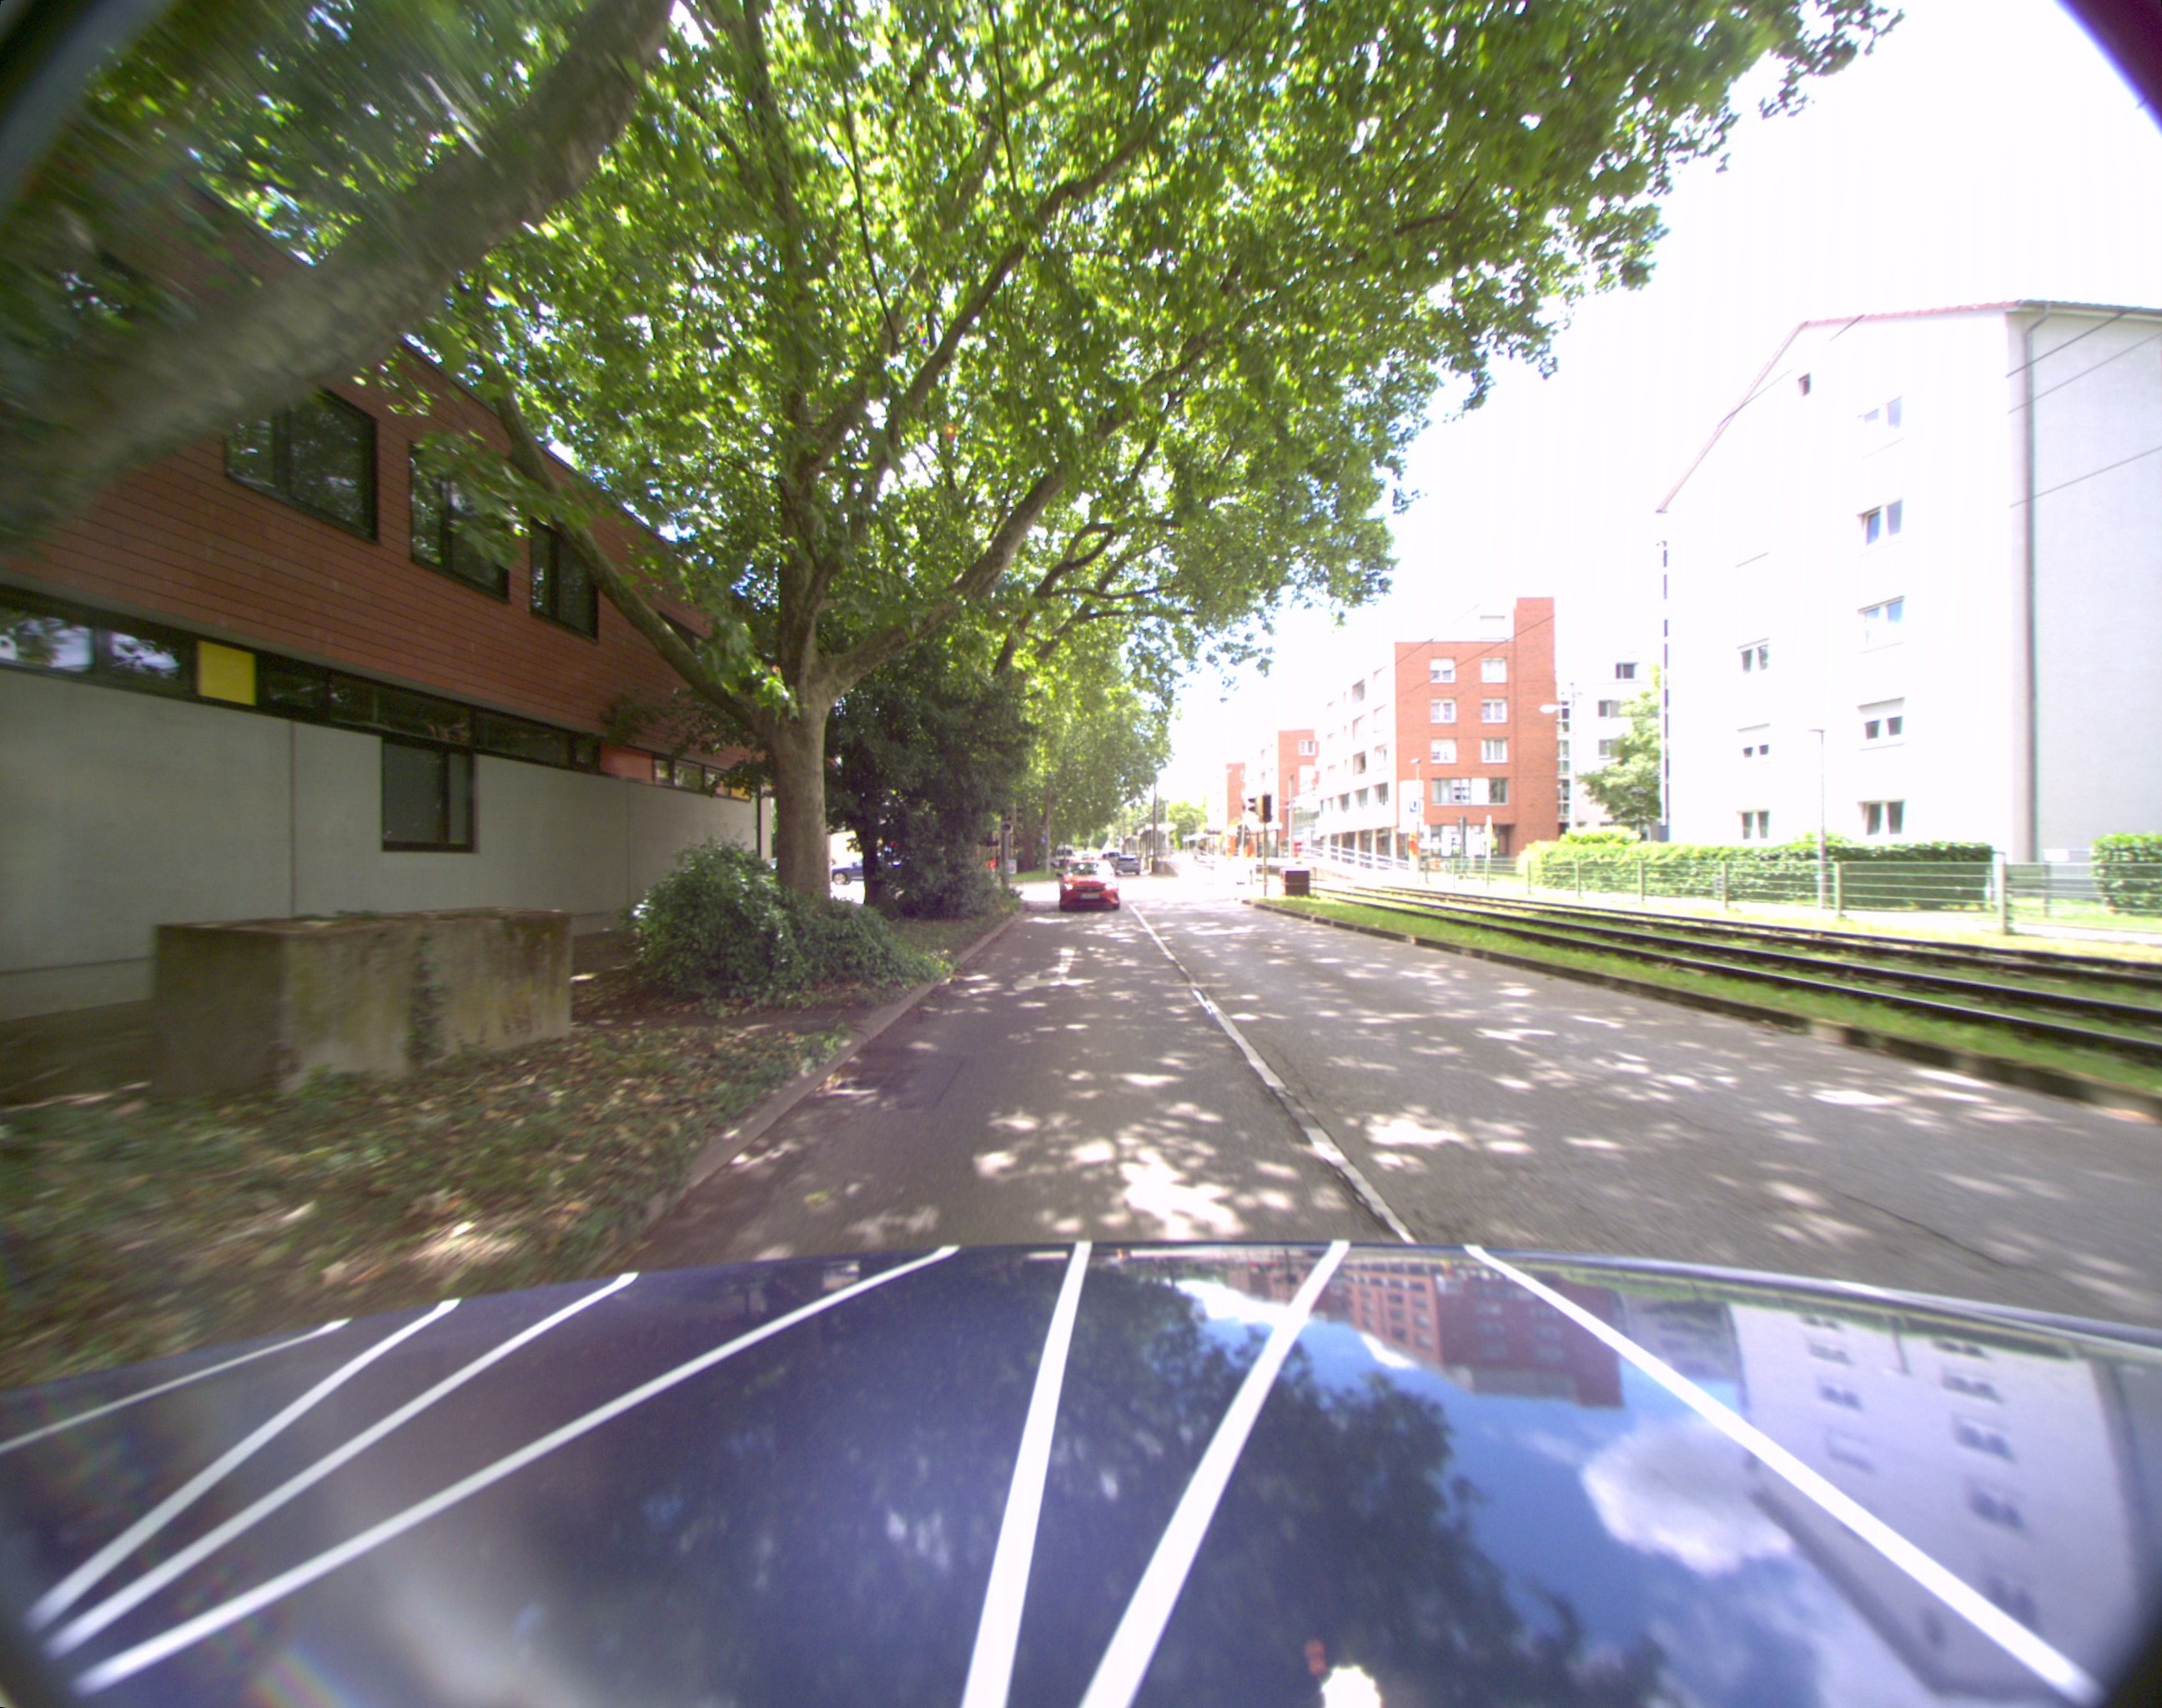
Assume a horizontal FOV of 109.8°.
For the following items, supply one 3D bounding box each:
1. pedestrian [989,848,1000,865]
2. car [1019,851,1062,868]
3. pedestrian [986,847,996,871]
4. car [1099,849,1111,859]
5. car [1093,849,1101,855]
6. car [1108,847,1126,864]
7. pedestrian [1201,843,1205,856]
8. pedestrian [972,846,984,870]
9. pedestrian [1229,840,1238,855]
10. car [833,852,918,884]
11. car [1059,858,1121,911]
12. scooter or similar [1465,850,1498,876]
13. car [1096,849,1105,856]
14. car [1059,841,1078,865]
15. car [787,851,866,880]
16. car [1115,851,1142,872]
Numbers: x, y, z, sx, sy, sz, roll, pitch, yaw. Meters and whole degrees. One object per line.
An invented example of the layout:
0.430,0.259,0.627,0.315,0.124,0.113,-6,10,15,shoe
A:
-8.954,0.251,78.514,0.923,1.791,0.607,2,2,45,pedestrian
-3.754,0.522,70.200,3.841,1.553,1.619,1,1,-6,car
-6.324,0.332,53.504,0.625,1.666,0.772,0,1,1,pedestrian
3.911,-0.039,124.548,1.758,1.624,4.118,-2,0,0,car
3.694,-0.500,180.463,1.766,1.472,3.753,-2,0,0,car
4.097,0.194,86.881,1.758,1.829,4.645,-2,0,-1,car
16.217,-0.600,100.915,0.535,1.753,0.528,0,1,-2,pedestrian
-7.222,0.283,53.393,0.761,1.715,0.658,1,1,-4,pedestrian
16.314,-0.669,81.393,0.753,1.619,0.816,-1,1,1,pedestrian
-10.942,0.763,40.722,4.192,1.672,2.012,0,0,-7,car
0.288,0.863,23.276,1.712,1.439,3.670,-2,0,1,car
18.959,0.433,35.963,1.299,1.246,0.466,0,0,10,scooter or similar
4.201,-0.273,165.428,1.766,1.472,4.576,-2,0,0,car
-1.394,-0.144,85.888,1.909,2.566,6.833,1,0,1,car
-14.916,0.641,44.671,4.105,1.645,1.810,0,0,-7,car
3.483,0.524,55.924,1.640,1.426,3.851,-1,0,-1,car
